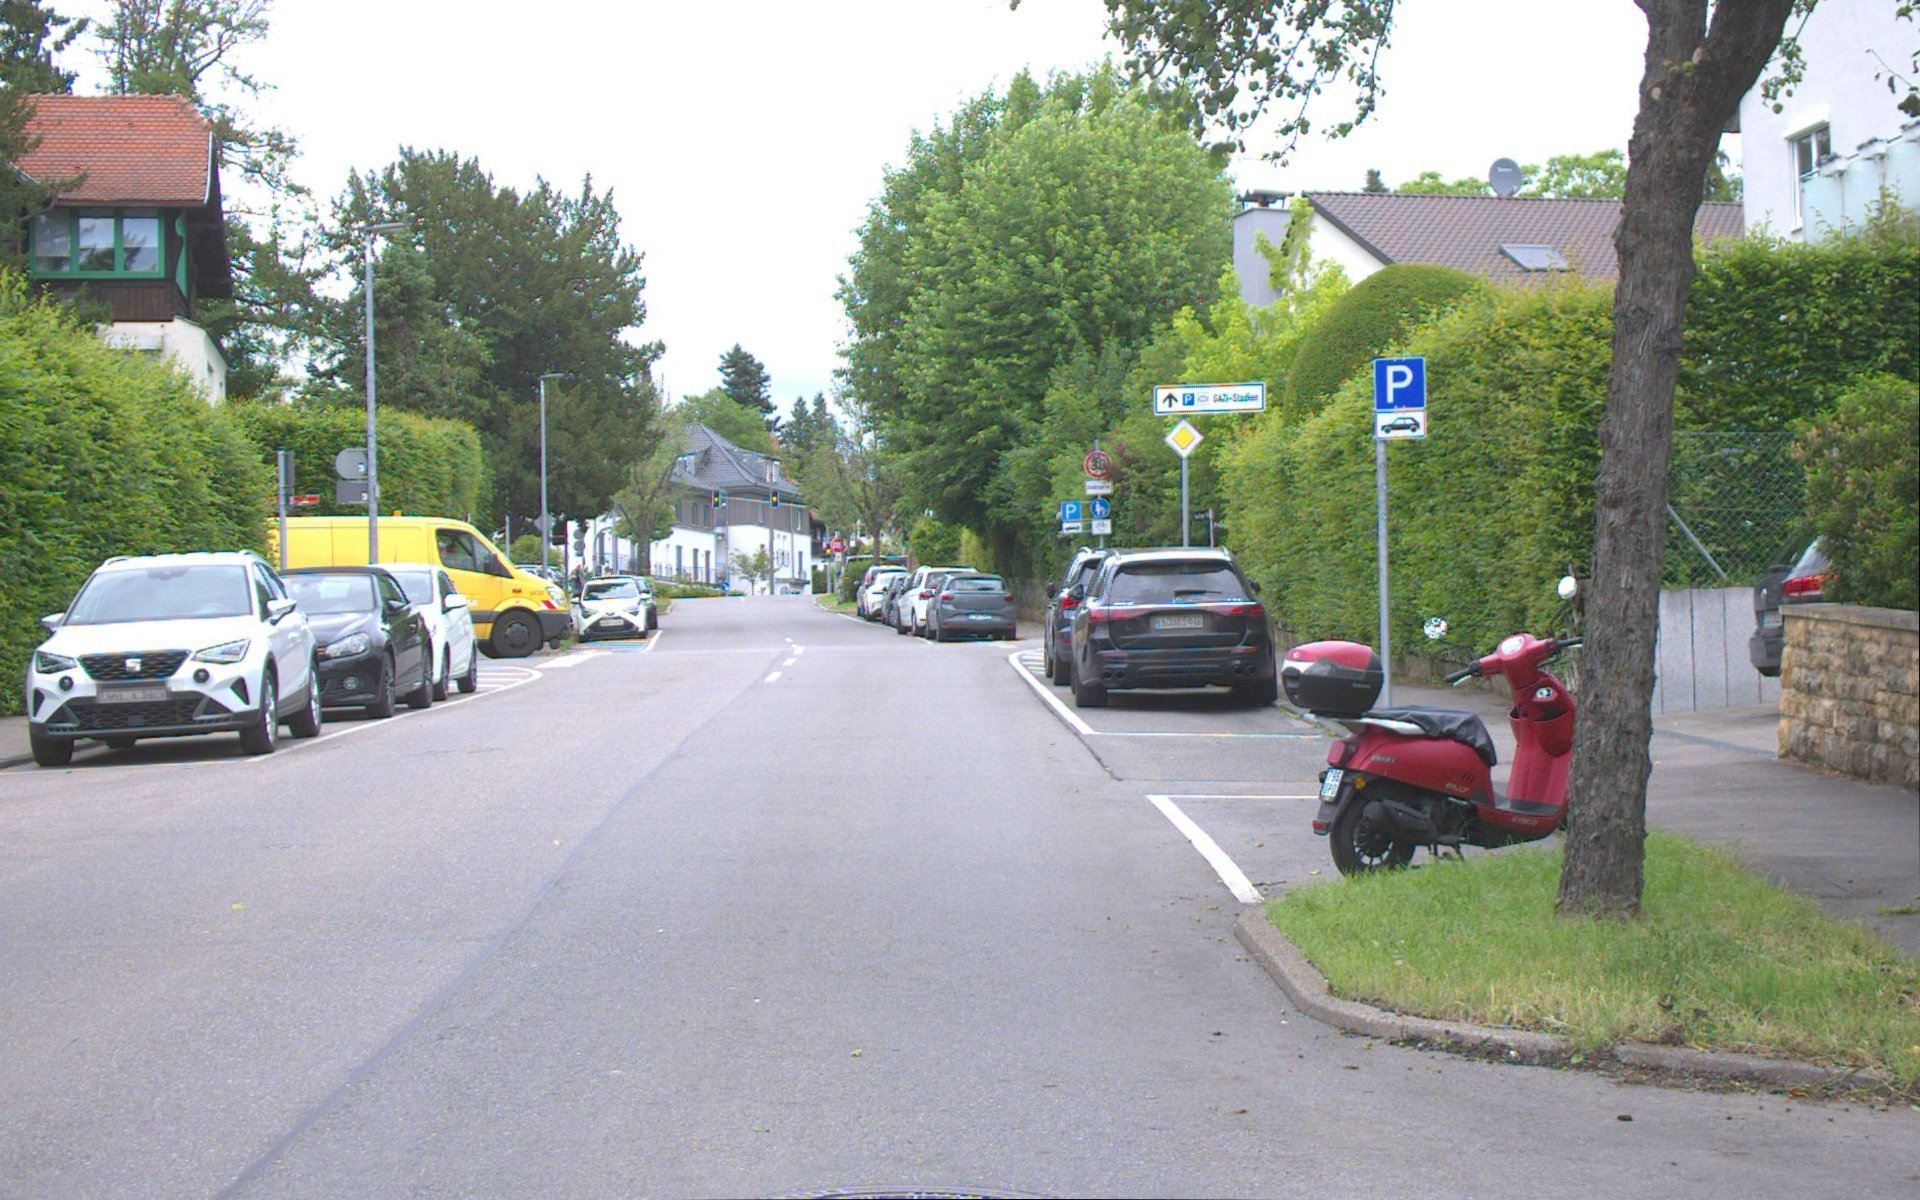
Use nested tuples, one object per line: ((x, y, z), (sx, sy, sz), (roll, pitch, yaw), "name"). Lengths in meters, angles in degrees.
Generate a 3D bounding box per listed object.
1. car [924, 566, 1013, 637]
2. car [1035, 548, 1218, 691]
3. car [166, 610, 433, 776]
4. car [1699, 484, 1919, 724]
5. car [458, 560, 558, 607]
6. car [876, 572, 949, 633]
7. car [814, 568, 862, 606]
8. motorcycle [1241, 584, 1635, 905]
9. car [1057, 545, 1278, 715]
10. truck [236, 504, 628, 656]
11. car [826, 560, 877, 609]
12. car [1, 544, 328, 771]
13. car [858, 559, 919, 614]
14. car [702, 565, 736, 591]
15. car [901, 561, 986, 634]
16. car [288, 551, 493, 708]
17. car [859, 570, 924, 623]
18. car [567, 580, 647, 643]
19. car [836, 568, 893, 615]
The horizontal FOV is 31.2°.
((0.163, 0.017, 76.628), (1.664, 1.495, 3.468), (-1, 1, -5), "car")
((1.847, 0.177, 39.464), (1.882, 1.528, 4.475), (0, 1, 0), "car")
((-6.155, 0.840, 32.440), (1.762, 1.383, 4.000), (-3, 0, -1), "car")
((7.825, -0.197, 24.831), (4.364, 1.463, 1.968), (-8, 1, -2), "car")
((-17.610, -0.653, 133.849), (3.843, 1.731, 1.642), (-1, 1, -8), "car")
((-1.281, 0.051, 90.697), (1.664, 1.495, 3.468), (-1, 1, -5), "car")
((-4.665, -0.503, 131.439), (1.643, 1.367, 3.468), (-1, 1, -5), "car")
((2.194, 0.623, 15.650), (1.863, 1.342, 0.599), (-2, 1, -36), "motorcycle")
((1.946, 0.238, 33.476), (1.882, 1.528, 4.475), (0, 1, 0), "car")
((-8.642, -0.288, 56.109), (5.930, 2.301, 2.826), (0, -3, -18), "truck")
((-3.911, -0.570, 123.385), (1.643, 1.662, 3.468), (-1, 1, -5), "car")
((-5.995, 0.374, 26.324), (1.722, 1.535, 4.001), (-2, 1, -3), "car")
((-2.267, -0.454, 108.614), (1.664, 1.662, 3.468), (-1, 1, -5), "car")
((-13.793, -1.265, 196.642), (1.822, 1.415, 4.001), (-1, 1, -5), "car")
((-0.414, -0.082, 81.548), (1.713, 1.652, 3.623), (-1, 1, -5), "car")
((-6.152, 0.278, 37.468), (1.630, 1.518, 3.638), (-3, 1, -1), "car")
((-2.041, -0.119, 101.328), (1.664, 1.495, 3.468), (-1, 1, -5), "car")
((-8.448, 0.255, 82.093), (1.664, 1.395, 3.468), (-1, 1, -10), "car")
((-3.200, -0.282, 114.940), (1.664, 1.495, 3.468), (-1, 1, -5), "car")
